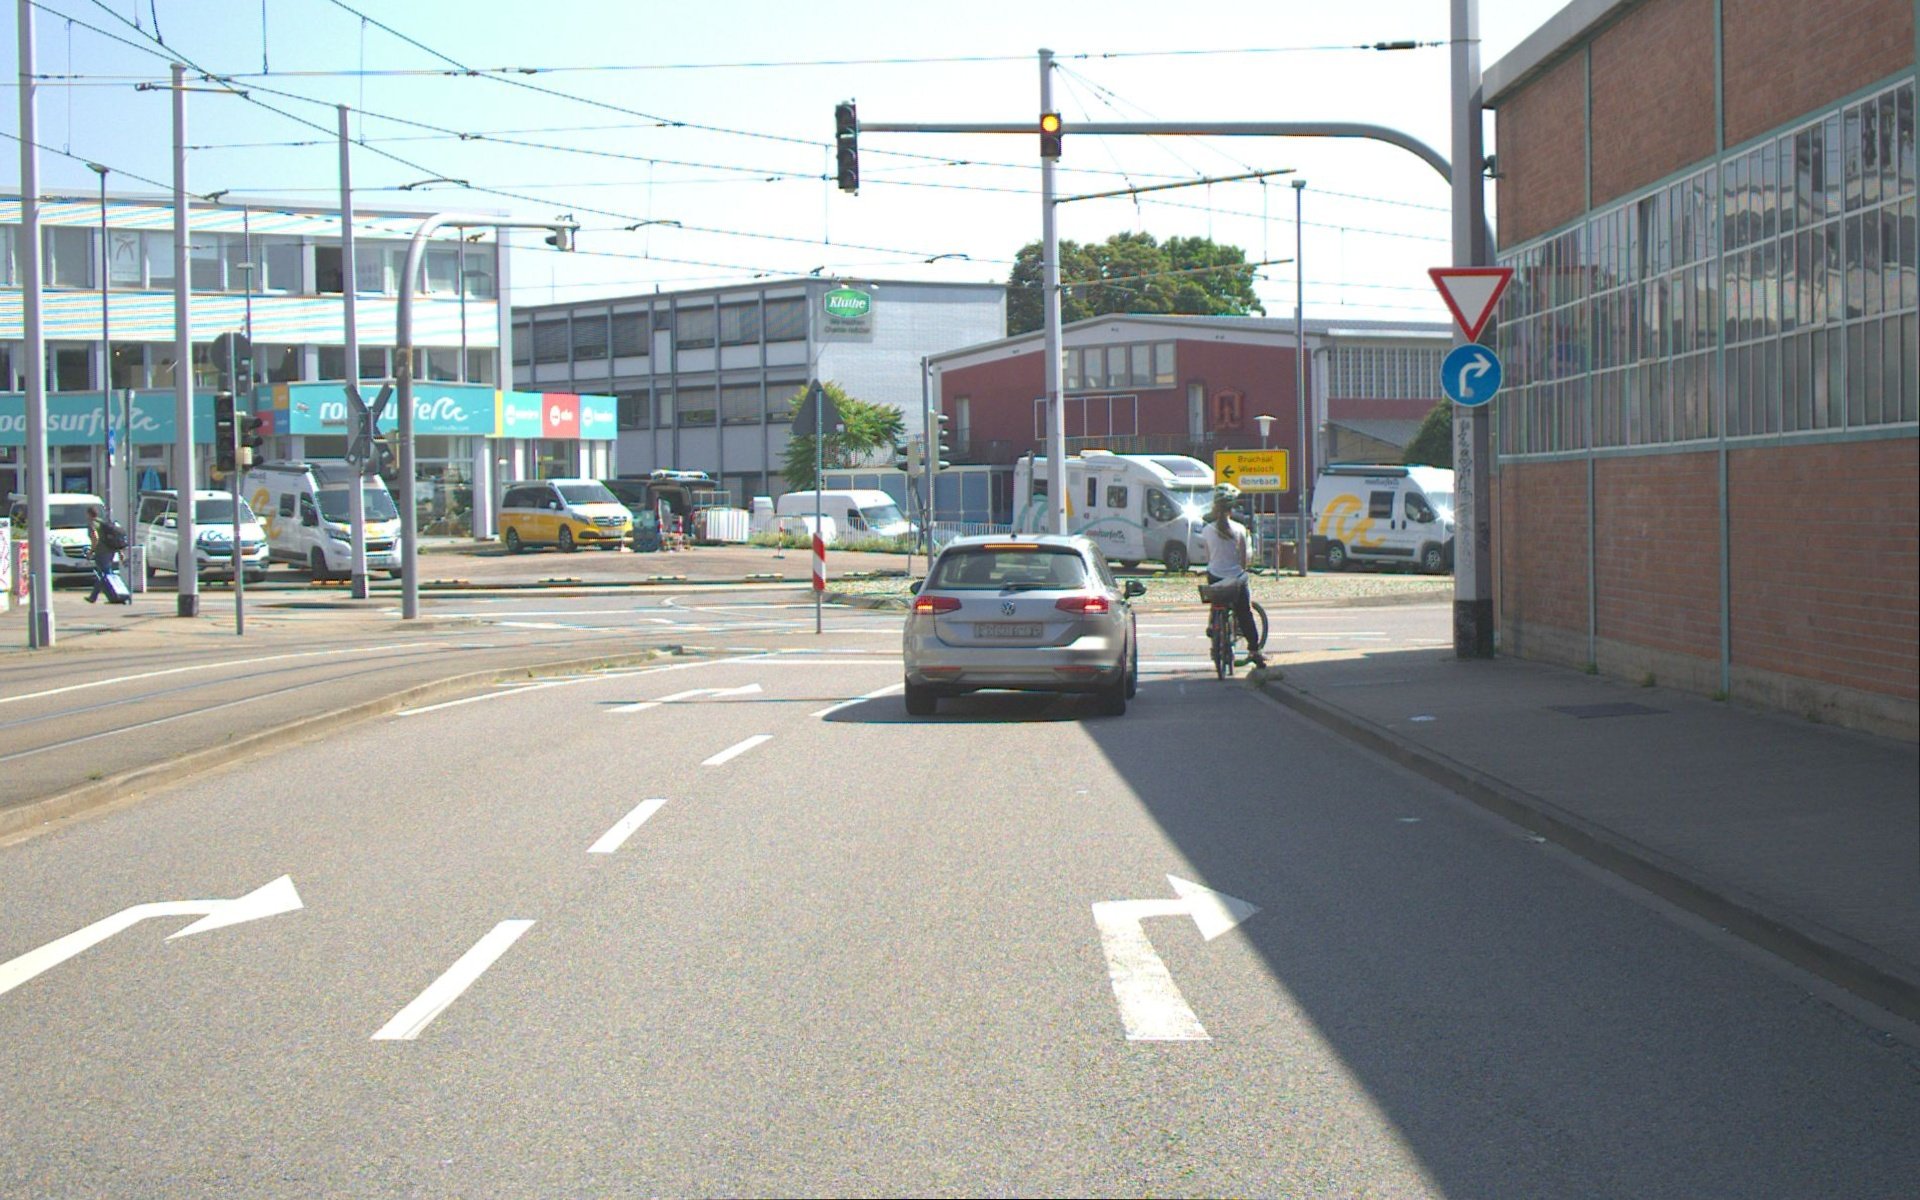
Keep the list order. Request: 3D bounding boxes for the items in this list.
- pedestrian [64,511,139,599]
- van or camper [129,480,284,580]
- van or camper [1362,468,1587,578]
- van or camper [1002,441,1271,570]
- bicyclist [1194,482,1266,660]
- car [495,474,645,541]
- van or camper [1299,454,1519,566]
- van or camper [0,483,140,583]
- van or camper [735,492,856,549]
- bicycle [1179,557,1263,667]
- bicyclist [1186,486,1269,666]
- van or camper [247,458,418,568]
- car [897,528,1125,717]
[{"bbox_3d":[-14.341,-0.758,57.435,1.129,1.450,0.838,-1,1,-9],"label":"pedestrian"},{"bbox_3d":[-17.000,-1.617,77.405,1.993,2.006,5.011,-2,4,-29],"label":"van or camper"},{"bbox_3d":[13.230,-2.044,88.805,2.282,2.602,5.892,-3,4,-35],"label":"van or camper"},{"bbox_3d":[4.250,-2.370,84.001,2.347,2.920,6.984,-3,5,-41],"label":"van or camper"},{"bbox_3d":[2.777,-0.308,35.416,0.708,1.804,0.983,0,1,3],"label":"bicyclist"},{"bbox_3d":[-10.532,-2.473,92.518,1.938,1.753,5.122,-1,2,-33],"label":"car"},{"bbox_3d":[11.052,-2.276,85.058,2.282,2.431,5.386,-3,6,-36],"label":"van or camper"},{"bbox_3d":[-20.051,-1.534,77.020,1.993,2.006,4.763,-2,4,-29],"label":"van or camper"},{"bbox_3d":[-5.698,-2.746,118.862,3.997,1.941,1.995,1,2,44],"label":"van or camper"},{"bbox_3d":[2.560,0.097,33.796,0.794,1.018,2.150,0,1,4],"label":"bicycle"},{"bbox_3d":[2.596,-0.243,33.407,0.786,1.716,1.147,0,1,4],"label":"bicyclist"},{"bbox_3d":[-14.421,-2.045,78.742,2.031,2.288,5.813,-2,4,-29],"label":"van or camper"},{"bbox_3d":[0.494,0.137,28.999,1.746,1.454,4.000,-1,1,3],"label":"car"}]
